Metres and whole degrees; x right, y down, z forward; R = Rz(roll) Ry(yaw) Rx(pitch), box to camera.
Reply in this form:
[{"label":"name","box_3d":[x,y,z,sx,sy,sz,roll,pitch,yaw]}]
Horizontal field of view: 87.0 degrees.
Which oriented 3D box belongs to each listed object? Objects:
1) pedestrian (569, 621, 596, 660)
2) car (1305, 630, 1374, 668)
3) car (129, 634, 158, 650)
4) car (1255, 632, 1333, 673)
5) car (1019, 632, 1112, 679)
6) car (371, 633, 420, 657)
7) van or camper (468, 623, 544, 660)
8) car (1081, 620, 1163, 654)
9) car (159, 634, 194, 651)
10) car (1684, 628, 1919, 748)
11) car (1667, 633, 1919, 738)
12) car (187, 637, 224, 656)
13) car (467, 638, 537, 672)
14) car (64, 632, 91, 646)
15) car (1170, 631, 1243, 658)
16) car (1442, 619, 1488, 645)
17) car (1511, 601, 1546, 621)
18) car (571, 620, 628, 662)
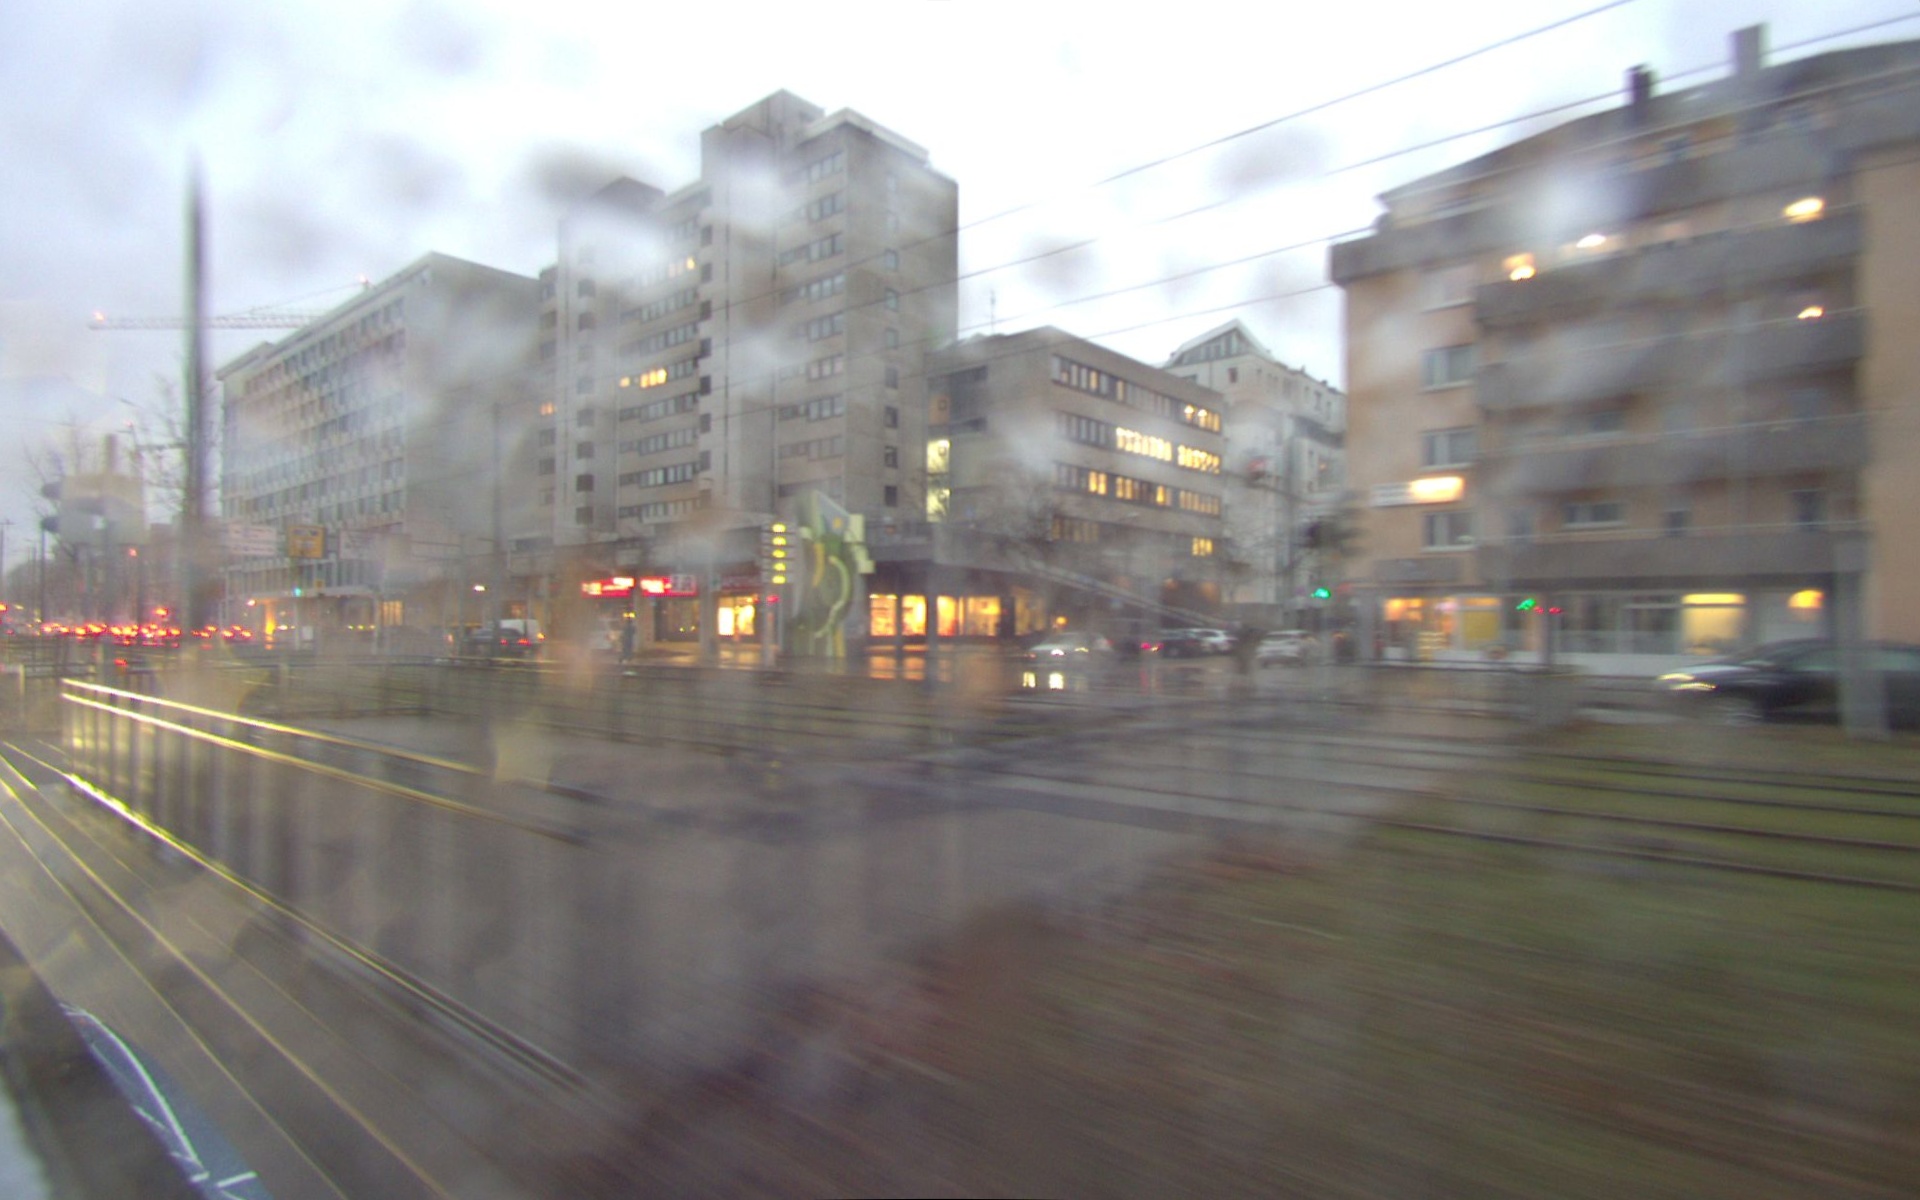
[{"label":"pedestrian","box_3d":[-14.603,1.546,39.173,0.629,1.501,0.783,-1,-2,33]},{"label":"car","box_3d":[16.907,2.127,45.007,1.756,1.564,3.788,-1,-2,39]},{"label":"car","box_3d":[-81.845,4.211,101.406,3.870,1.460,1.576,-1,-1,40]},{"label":"car","box_3d":[13.576,2.086,40.997,1.776,1.564,3.788,-1,-2,39]},{"label":"car","box_3d":[4.107,2.089,39.031,1.684,1.523,3.948,-1,1,39]},{"label":"car","box_3d":[-41.463,3.311,74.422,1.656,1.630,3.781,0,-1,-4]},{"label":"van or camper","box_3d":[-27.269,2.448,60.657,5.651,2.113,1.973,-2,-2,41]},{"label":"car","box_3d":[7.903,1.782,49.530,3.626,1.613,1.605,-1,-1,31]},{"label":"car","box_3d":[-71.360,3.830,92.166,3.870,1.460,1.732,-1,-1,40]},{"label":"car","box_3d":[13.581,1.279,15.451,3.997,1.597,1.783,-1,1,40]},{"label":"car","box_3d":[15.210,1.450,18.164,3.997,1.597,1.783,-1,1,40]},{"label":"car","box_3d":[-65.230,3.983,87.479,3.887,1.523,1.732,-1,-1,40]},{"label":"car","box_3d":[-23.678,2.804,52.201,1.969,1.557,4.709,1,-1,-42]},{"label":"car","box_3d":[-92.631,4.077,106.227,3.870,1.460,1.576,-1,-1,40]},{"label":"car","box_3d":[13.859,2.502,57.014,3.574,1.431,1.816,-1,-1,38]},{"label":"car","box_3d":[31.507,1.971,63.059,1.756,1.564,3.788,-1,-2,39]},{"label":"car","box_3d":[44.876,0.877,79.855,1.756,1.564,3.788,-1,-2,39]},{"label":"car","box_3d":[-19.764,2.210,55.627,1.969,2.029,4.580,-1,0,-7]}]
